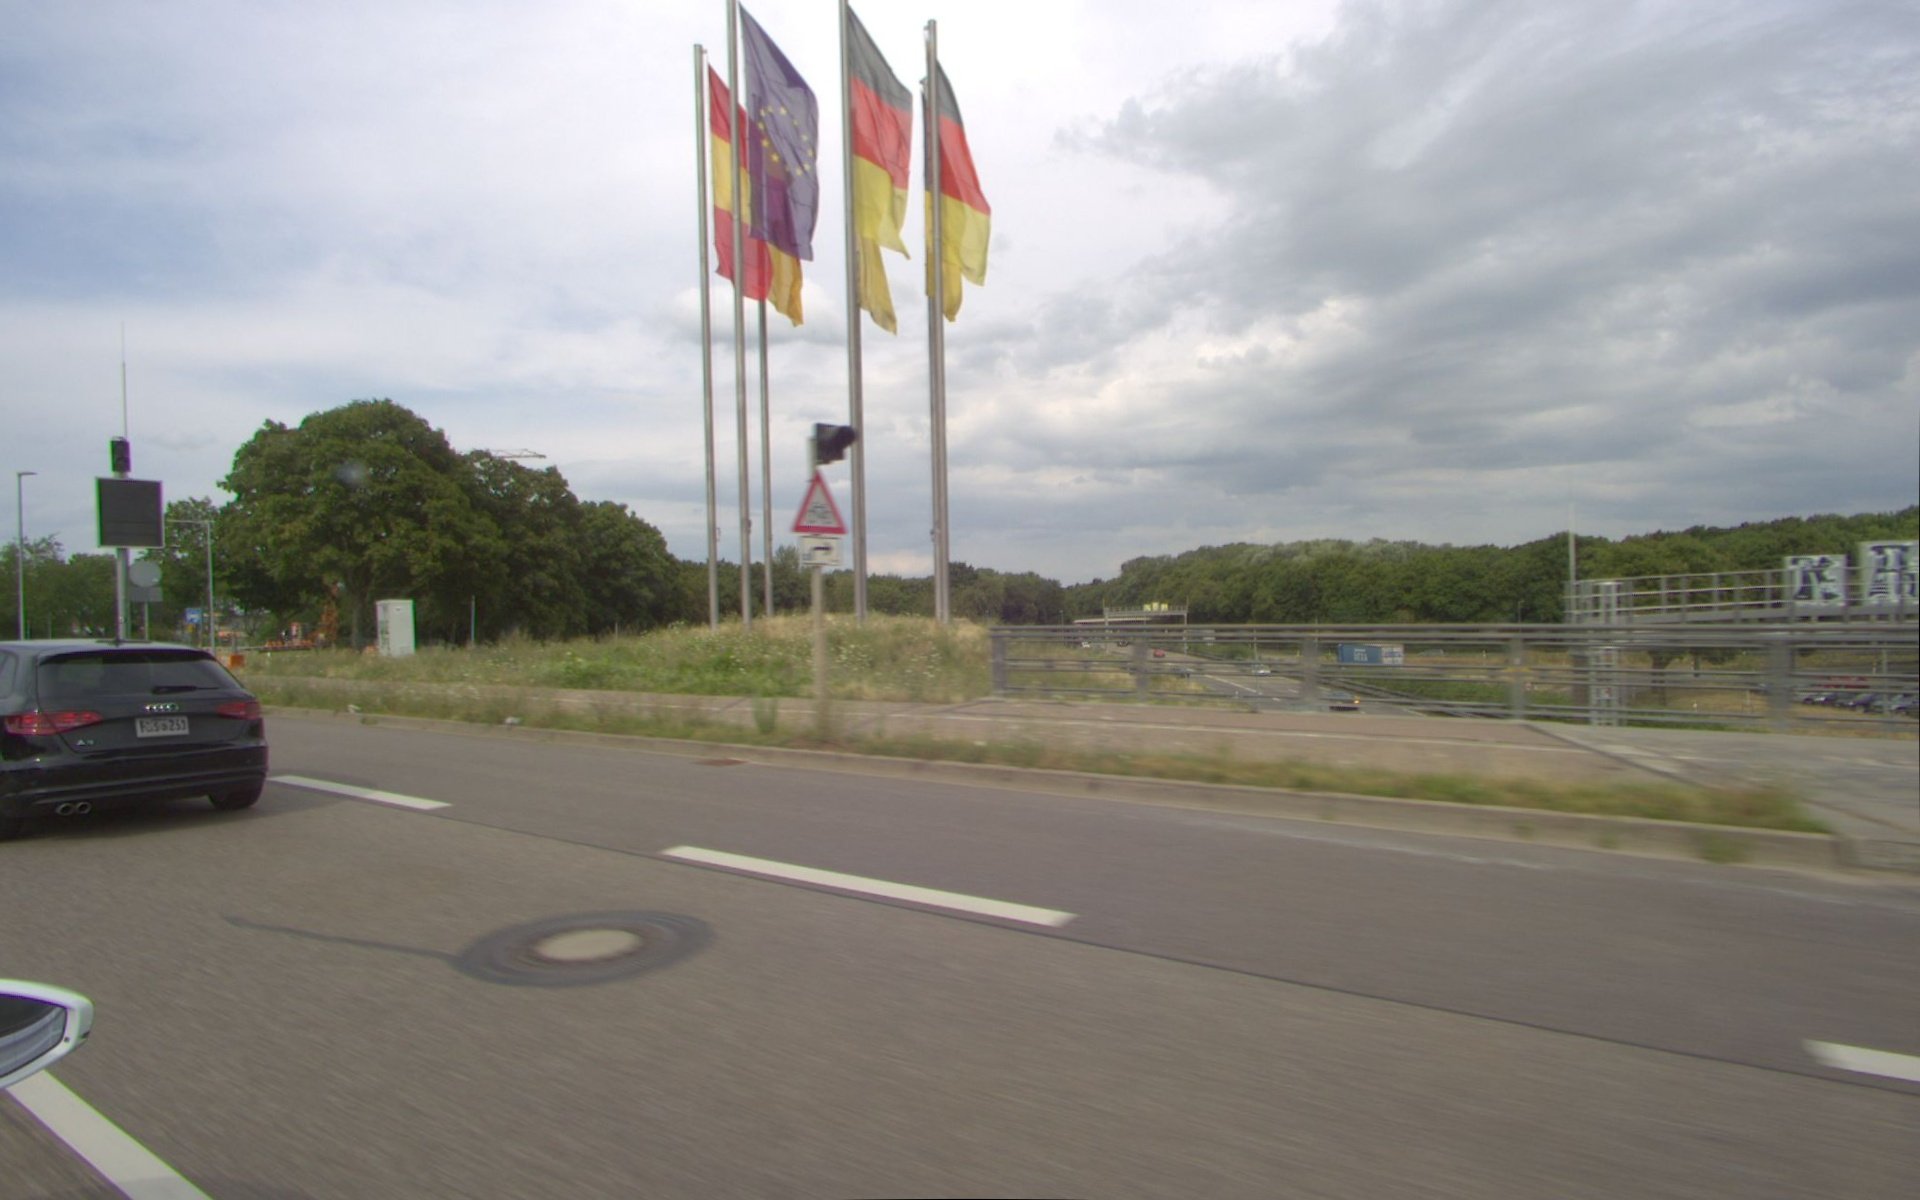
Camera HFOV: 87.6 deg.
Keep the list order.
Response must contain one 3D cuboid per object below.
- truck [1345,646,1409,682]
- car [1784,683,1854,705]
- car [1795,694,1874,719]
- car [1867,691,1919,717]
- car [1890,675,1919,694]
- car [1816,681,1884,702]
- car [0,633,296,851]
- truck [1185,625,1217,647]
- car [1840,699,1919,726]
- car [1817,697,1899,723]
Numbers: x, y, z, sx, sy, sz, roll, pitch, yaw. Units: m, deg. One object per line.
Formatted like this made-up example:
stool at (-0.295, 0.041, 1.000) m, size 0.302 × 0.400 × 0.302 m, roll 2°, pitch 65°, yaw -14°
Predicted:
truck at (49.283, 7.421, 118.848) m, size 3.292 × 3.665 × 13.996 m, roll 1°, pitch -1°, yaw 7°
car at (71.129, 7.768, 82.947) m, size 3.925 × 1.594 × 1.999 m, roll 0°, pitch -1°, yaw 13°
car at (65.034, 7.938, 74.538) m, size 3.925 × 1.594 × 1.999 m, roll 0°, pitch -1°, yaw 13°
car at (64.079, 7.021, 67.417) m, size 3.925 × 1.594 × 1.999 m, roll 0°, pitch -1°, yaw 13°
car at (83.481, 7.333, 86.636) m, size 3.925 × 1.594 × 1.999 m, roll 0°, pitch -1°, yaw 13°
car at (76.704, 7.909, 86.346) m, size 3.925 × 1.594 × 1.999 m, roll 0°, pitch -1°, yaw 13°
car at (-7.489, 0.984, 8.301) m, size 4.054 × 1.413 × 1.729 m, roll -1°, pitch -2°, yaw 31°
truck at (51.549, 7.719, 214.506) m, size 3.778 × 4.519 × 12.658 m, roll 1°, pitch -1°, yaw 0°
car at (64.300, 7.818, 69.813) m, size 3.925 × 1.594 × 1.999 m, roll 0°, pitch -1°, yaw 13°
car at (64.602, 7.875, 72.085) m, size 3.925 × 1.594 × 1.999 m, roll 0°, pitch -1°, yaw 13°
